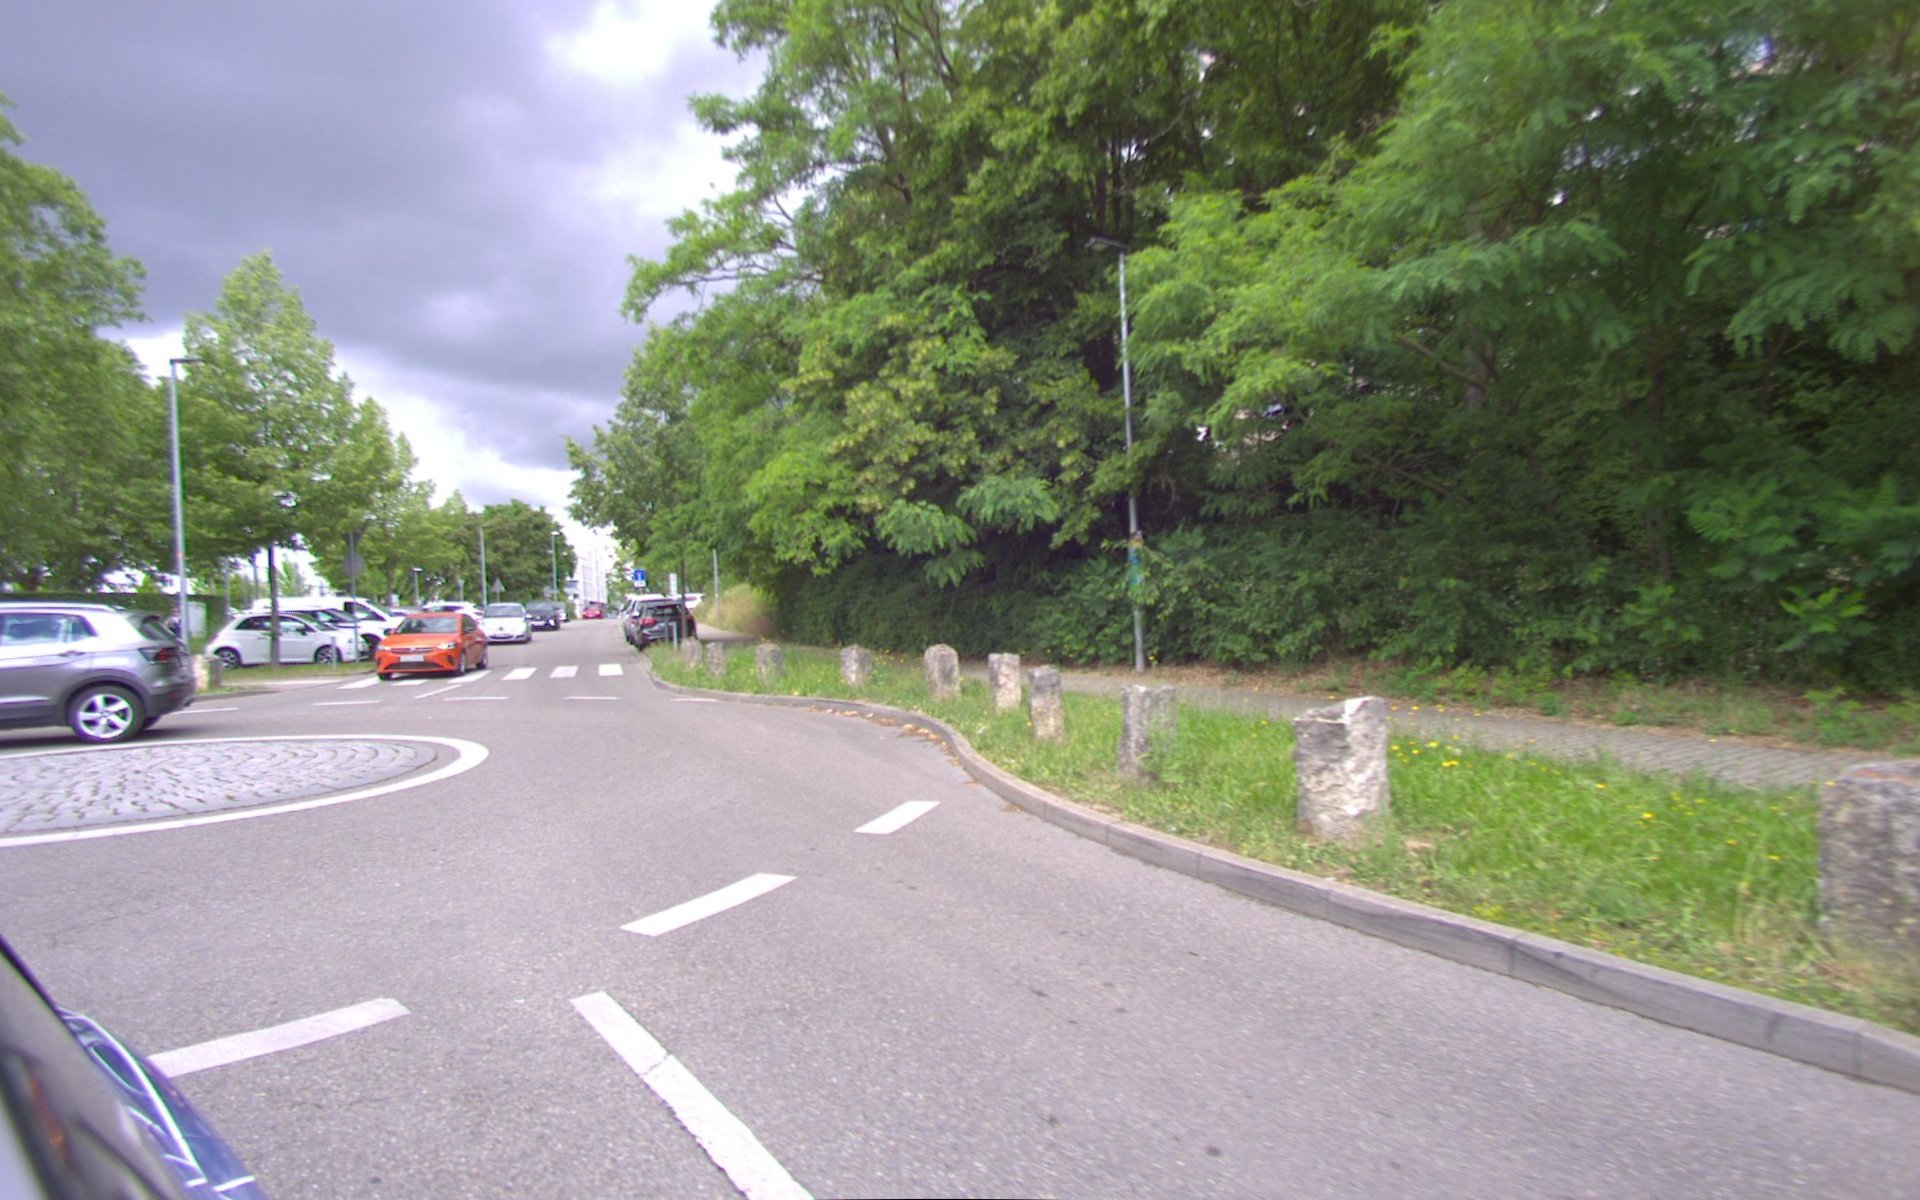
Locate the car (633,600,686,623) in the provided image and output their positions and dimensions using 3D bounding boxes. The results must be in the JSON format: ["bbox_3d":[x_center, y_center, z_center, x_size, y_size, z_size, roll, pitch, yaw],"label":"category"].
[{"bbox_3d":[-23.908,0.914,80.493,3.978,1.652,1.658,-3,0,26],"label":"car"}]

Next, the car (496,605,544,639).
[{"bbox_3d":[-23.422,1.144,53.991,1.730,1.628,4.011,-3,0,-15],"label":"car"}]

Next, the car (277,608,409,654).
[{"bbox_3d":[-22.207,1.097,36.595,3.770,1.531,1.918,0,0,-20],"label":"car"}]

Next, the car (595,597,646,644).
[{"bbox_3d":[-14.270,0.833,42.423,1.782,1.676,4.451,-6,1,-20],"label":"car"}]

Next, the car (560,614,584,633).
[{"bbox_3d":[-37.512,2.233,97.871,1.730,1.628,4.011,-3,0,-15],"label":"car"}]

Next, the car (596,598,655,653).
[{"bbox_3d":[-12.136,0.856,36.541,1.774,1.627,4.493,-6,2,-20],"label":"car"}]

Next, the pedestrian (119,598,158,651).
[{"bbox_3d":[-24.322,0.717,29.982,0.667,1.531,0.708,-3,0,-22],"label":"pedestrian"}]

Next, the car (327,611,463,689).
[{"bbox_3d":[-12.811,1.062,23.212,1.730,1.527,4.011,-3,0,-15],"label":"car"}]

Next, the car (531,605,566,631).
[{"bbox_3d":[-29.012,1.246,71.486,1.730,1.628,4.011,-3,0,-15],"label":"car"}]

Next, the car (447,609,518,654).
[{"bbox_3d":[-18.316,1.153,38.980,1.730,1.527,4.011,-3,0,-15],"label":"car"}]

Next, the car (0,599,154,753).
[{"bbox_3d":[-11.516,0.831,11.113,3.941,1.630,1.728,-1,0,-30],"label":"car"}]

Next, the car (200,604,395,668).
[{"bbox_3d":[-20.343,1.069,31.313,4.708,1.845,1.848,0,0,-16],"label":"car"}]

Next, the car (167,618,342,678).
[{"bbox_3d":[-18.532,1.221,26.761,3.462,1.472,1.744,0,-1,-20],"label":"car"}]

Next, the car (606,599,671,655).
[{"bbox_3d":[-10.136,0.804,31.738,1.666,1.475,4.470,-6,1,-20],"label":"car"}]

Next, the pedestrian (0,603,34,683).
[{"bbox_3d":[-20.340,0.916,21.560,0.679,1.669,0.602,-3,0,-21],"label":"pedestrian"}]

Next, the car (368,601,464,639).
[{"bbox_3d":[-25.246,0.913,47.109,3.619,1.659,1.857,-1,0,-17],"label":"car"}]

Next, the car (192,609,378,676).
[{"bbox_3d":[-19.188,1.167,28.971,4.092,1.614,1.744,-3,0,-21],"label":"car"}]

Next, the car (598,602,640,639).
[{"bbox_3d":[-16.074,0.932,47.570,1.666,1.522,4.244,-6,1,-20],"label":"car"}]
